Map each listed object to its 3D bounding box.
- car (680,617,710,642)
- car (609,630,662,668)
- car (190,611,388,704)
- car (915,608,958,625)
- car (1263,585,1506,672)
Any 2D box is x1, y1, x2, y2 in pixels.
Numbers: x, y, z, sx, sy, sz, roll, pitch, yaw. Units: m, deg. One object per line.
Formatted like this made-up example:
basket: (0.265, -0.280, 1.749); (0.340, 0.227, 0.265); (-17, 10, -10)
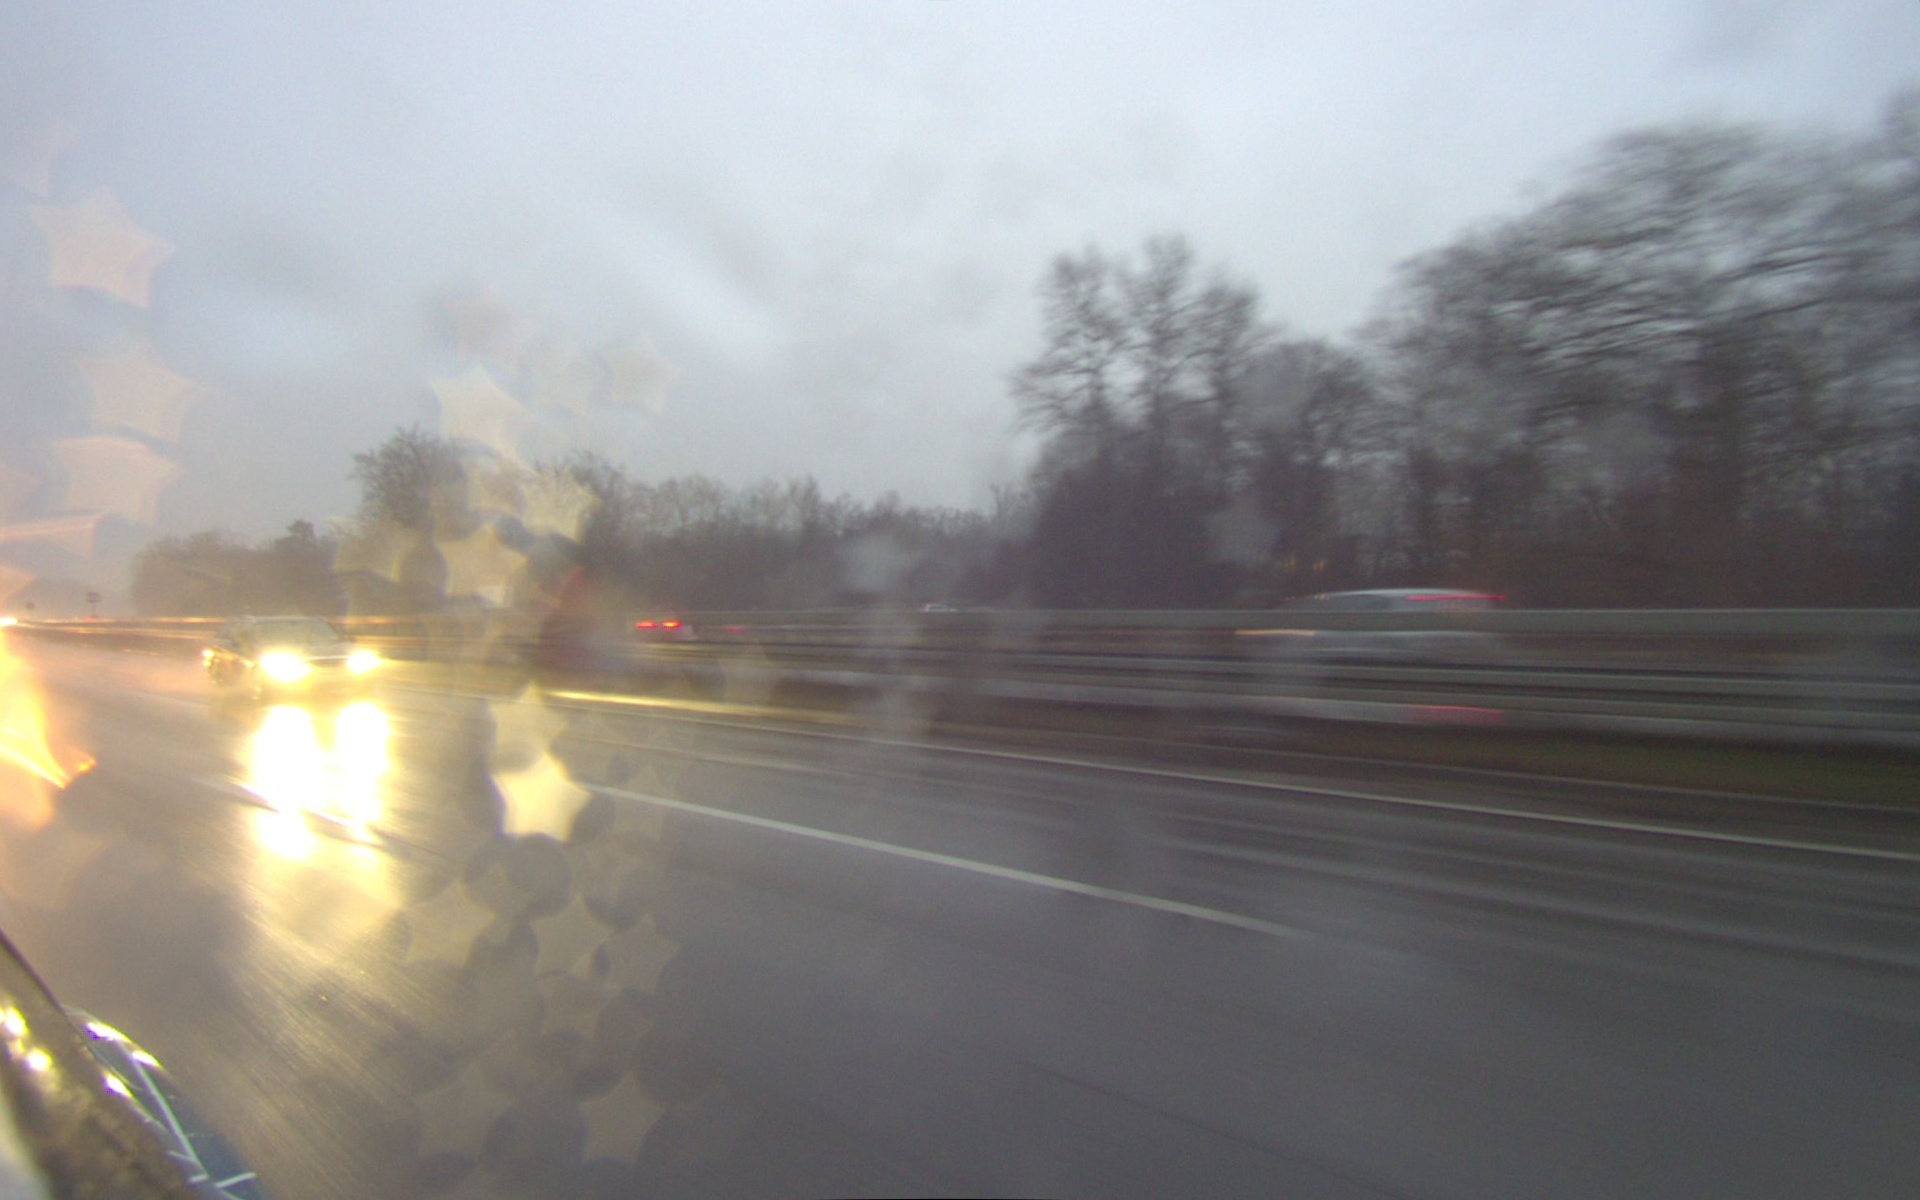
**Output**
car: (-18.196, 2.000, 69.519); (1.720, 1.498, 4.009); (-2, 0, -11)
car: (-15.375, 2.277, 47.814); (1.719, 1.498, 4.444); (-3, 1, -25)
car: (-12.558, 1.010, 18.841); (4.407, 1.479, 1.781); (-2, 0, 38)
car: (-2.230, 1.573, 96.741); (3.939, 1.498, 1.751); (-2, 1, -43)
car: (8.174, 0.516, 19.689); (3.999, 1.498, 1.725); (-1, 1, 42)
